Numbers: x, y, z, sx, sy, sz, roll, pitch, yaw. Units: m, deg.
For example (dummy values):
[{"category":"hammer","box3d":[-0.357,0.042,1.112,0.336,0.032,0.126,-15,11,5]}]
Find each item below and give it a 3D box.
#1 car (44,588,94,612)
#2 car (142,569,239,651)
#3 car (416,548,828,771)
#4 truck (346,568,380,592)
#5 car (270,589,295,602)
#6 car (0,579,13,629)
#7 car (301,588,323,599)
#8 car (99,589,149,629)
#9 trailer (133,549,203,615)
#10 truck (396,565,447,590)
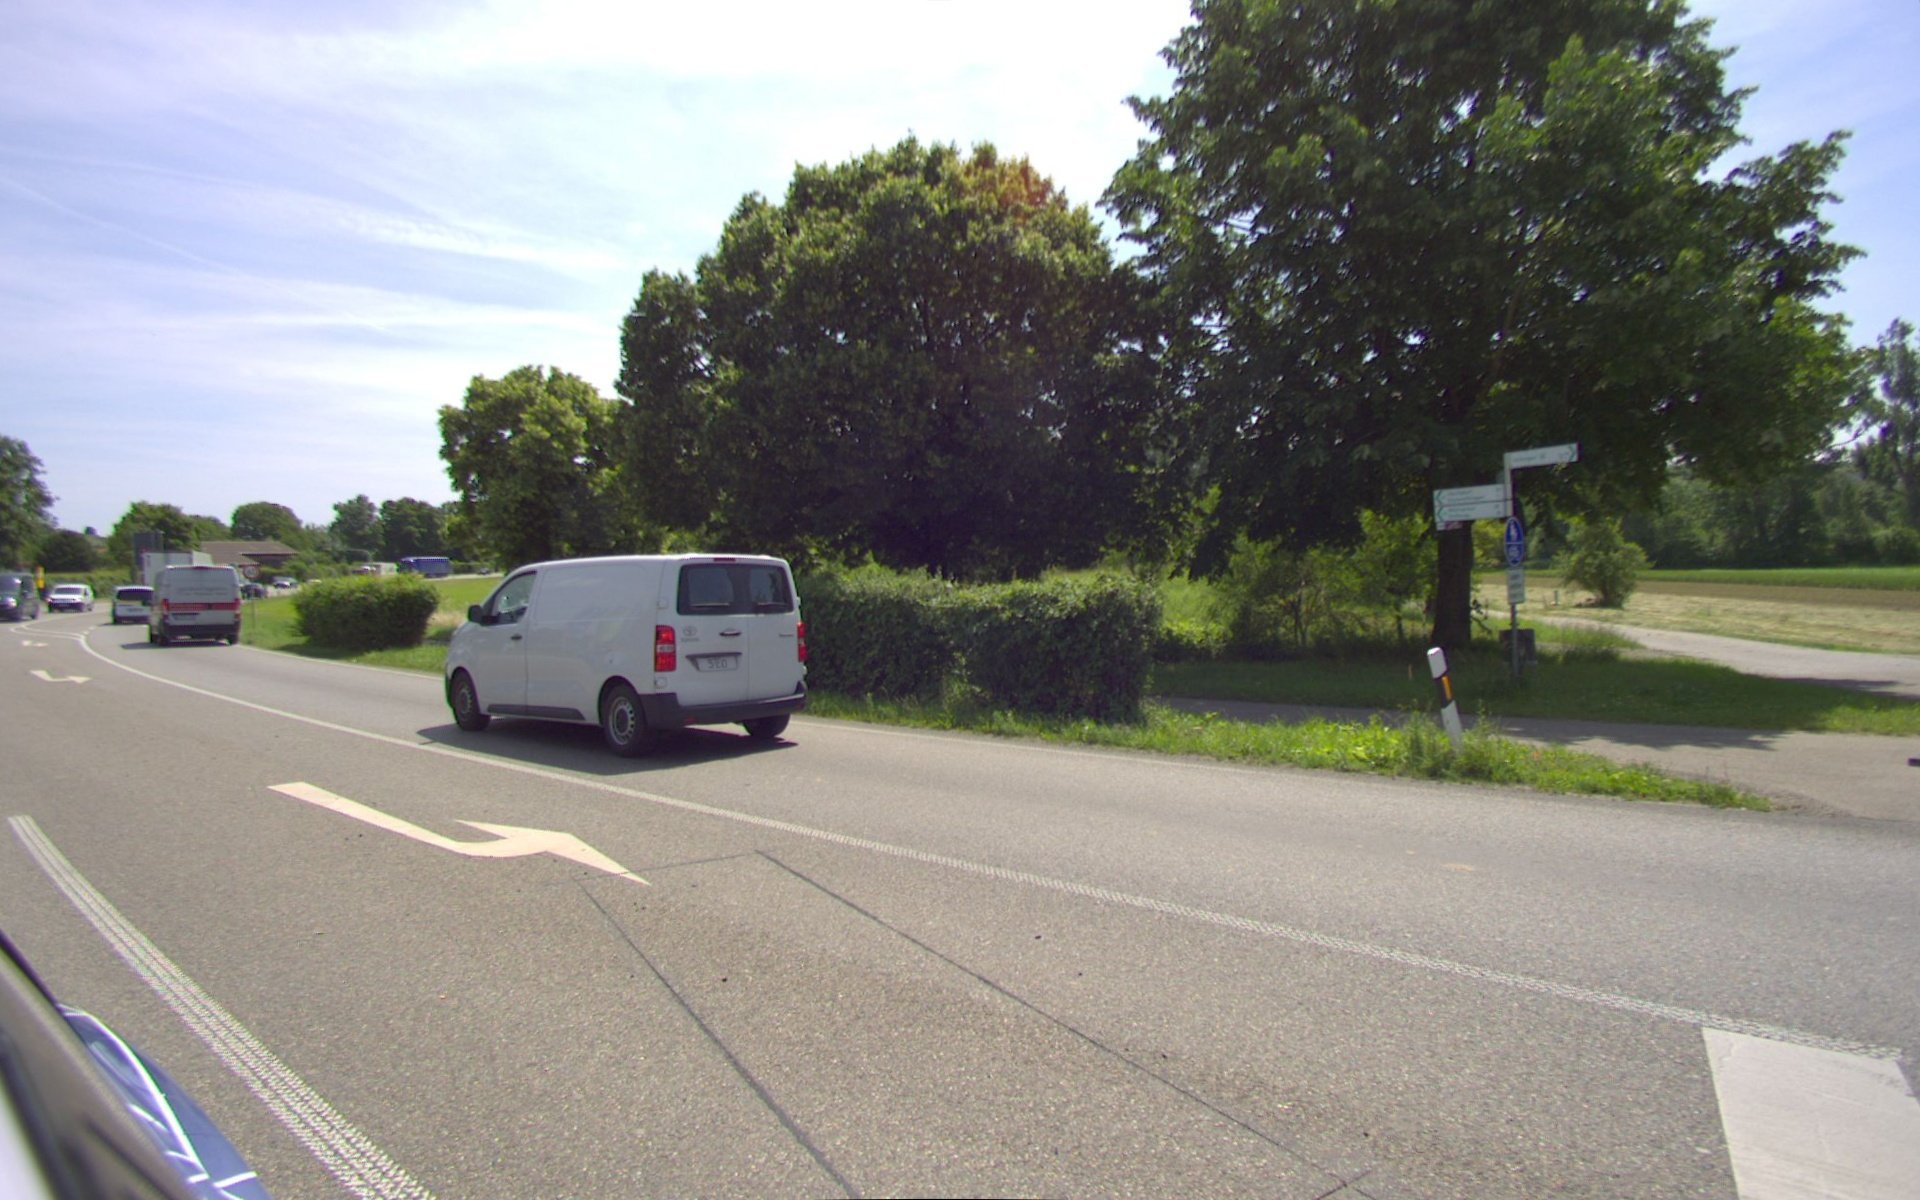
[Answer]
[{"category":"car","box3d":[-59.292,-0.050,67.428,1.754,1.504,4.170,-1,1,-31]},{"category":"car","box3d":[-25.403,0.337,33.327,2.027,2.470,5.274,0,-1,-43]},{"category":"car","box3d":[-3.813,0.522,10.919,4.946,1.900,1.852,0,0,39]},{"category":"truck","box3d":[-92.163,-3.049,156.347,2.927,3.596,6.920,0,1,-17]},{"category":"car","box3d":[-93.448,-0.583,139.568,1.779,1.746,4.012,-2,0,-18]},{"category":"car","box3d":[-50.552,0.176,52.345,4.157,2.538,1.955,1,1,42]},{"category":"car","box3d":[-83.828,-0.854,130.920,1.593,1.473,3.482,-1,1,-20]},{"category":"car","box3d":[-42.056,0.435,50.961,1.849,1.879,5.150,-1,0,-39]},{"category":"trailer","box3d":[-53.291,-1.125,68.370,2.740,4.133,11.692,1,0,-33]},{"category":"truck","box3d":[-105.239,-4.493,198.114,2.704,4.643,16.183,-1,2,-6]}]
